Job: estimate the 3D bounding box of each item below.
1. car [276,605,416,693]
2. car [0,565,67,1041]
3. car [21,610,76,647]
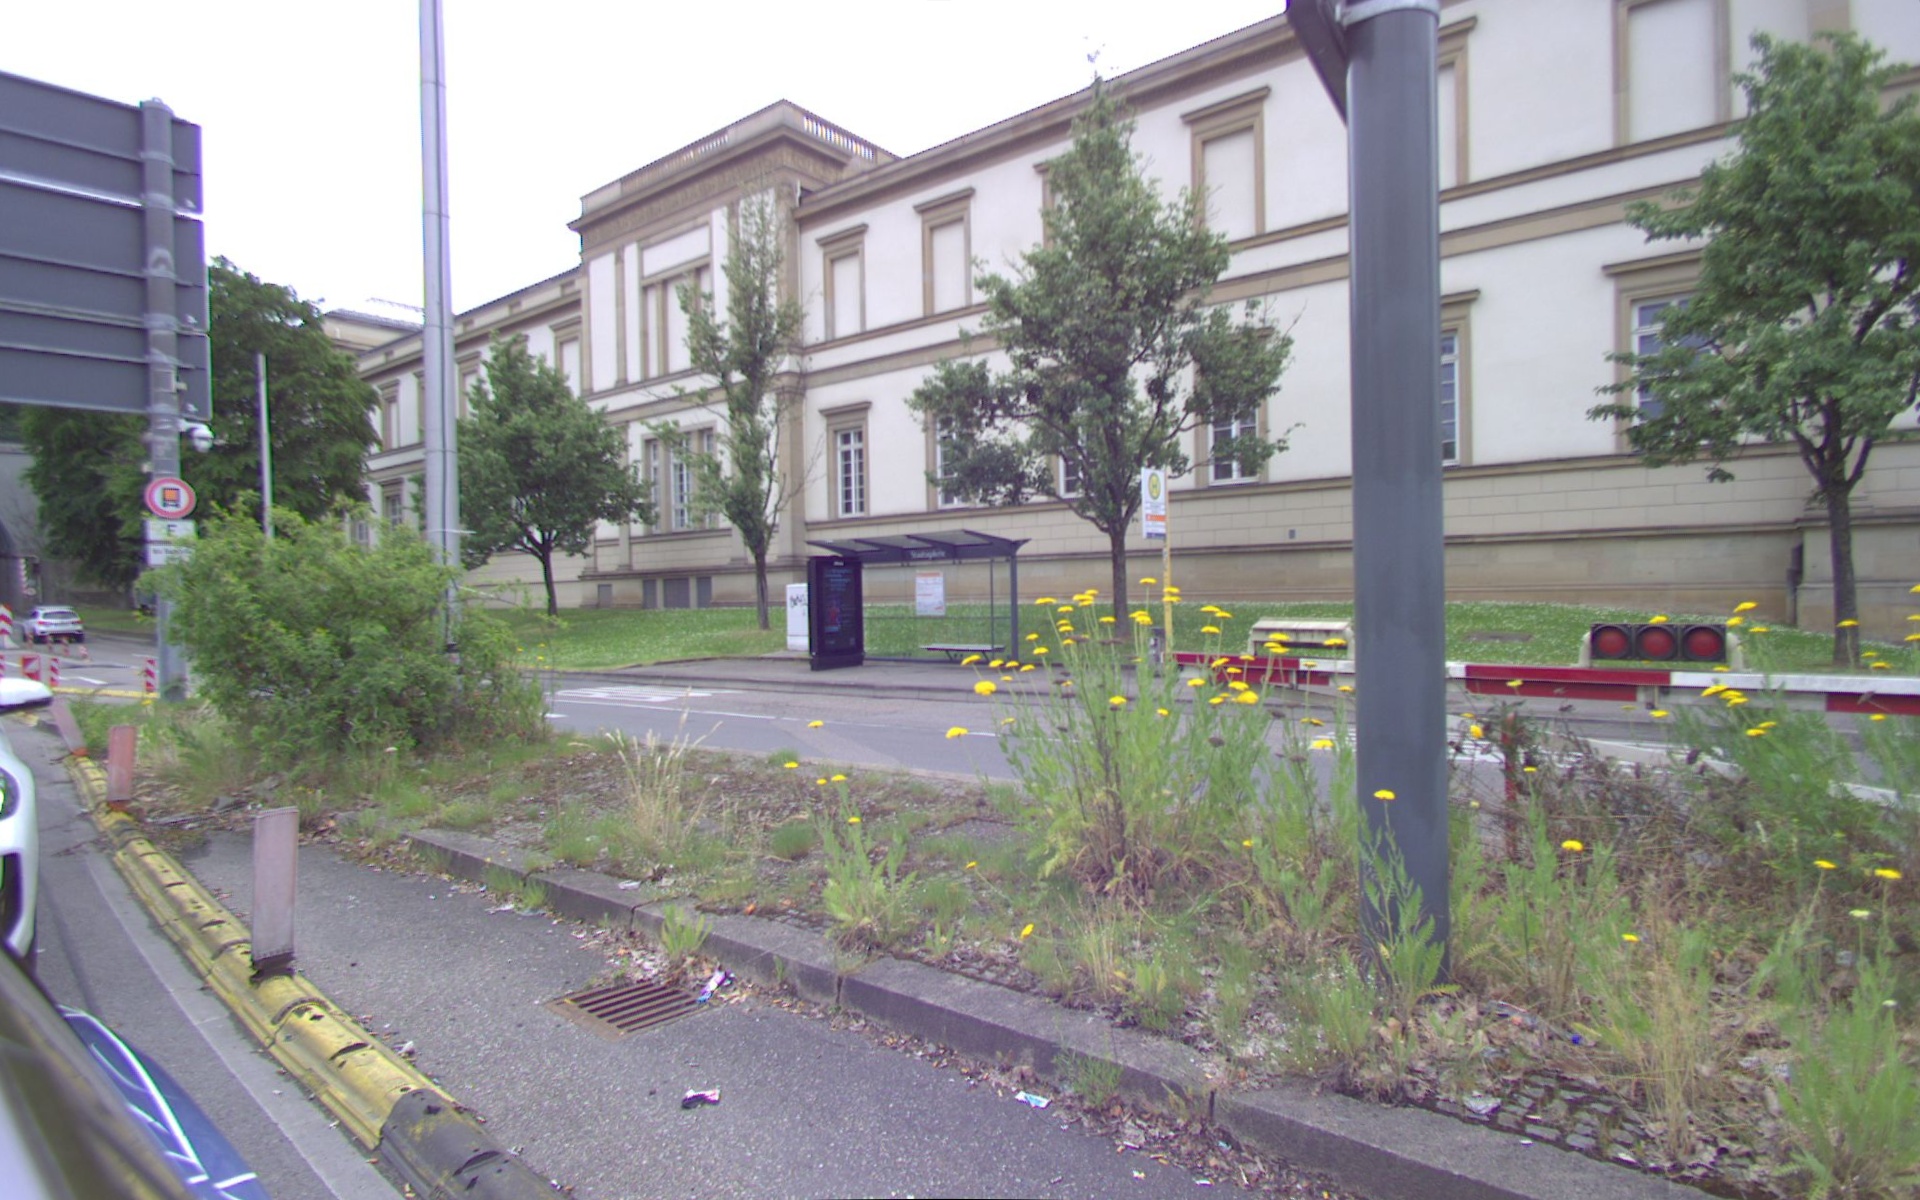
[{"bbox_3d":[-13.841,1.019,22.727,1.811,1.759,4.002,-1,0,-45],"label":"car"},{"bbox_3d":[-5.208,0.721,4.076,3.668,1.637,1.962,-1,0,41],"label":"car"},{"bbox_3d":[-43.208,1.358,47.955,1.876,1.637,4.111,-1,-1,-43],"label":"car"}]
